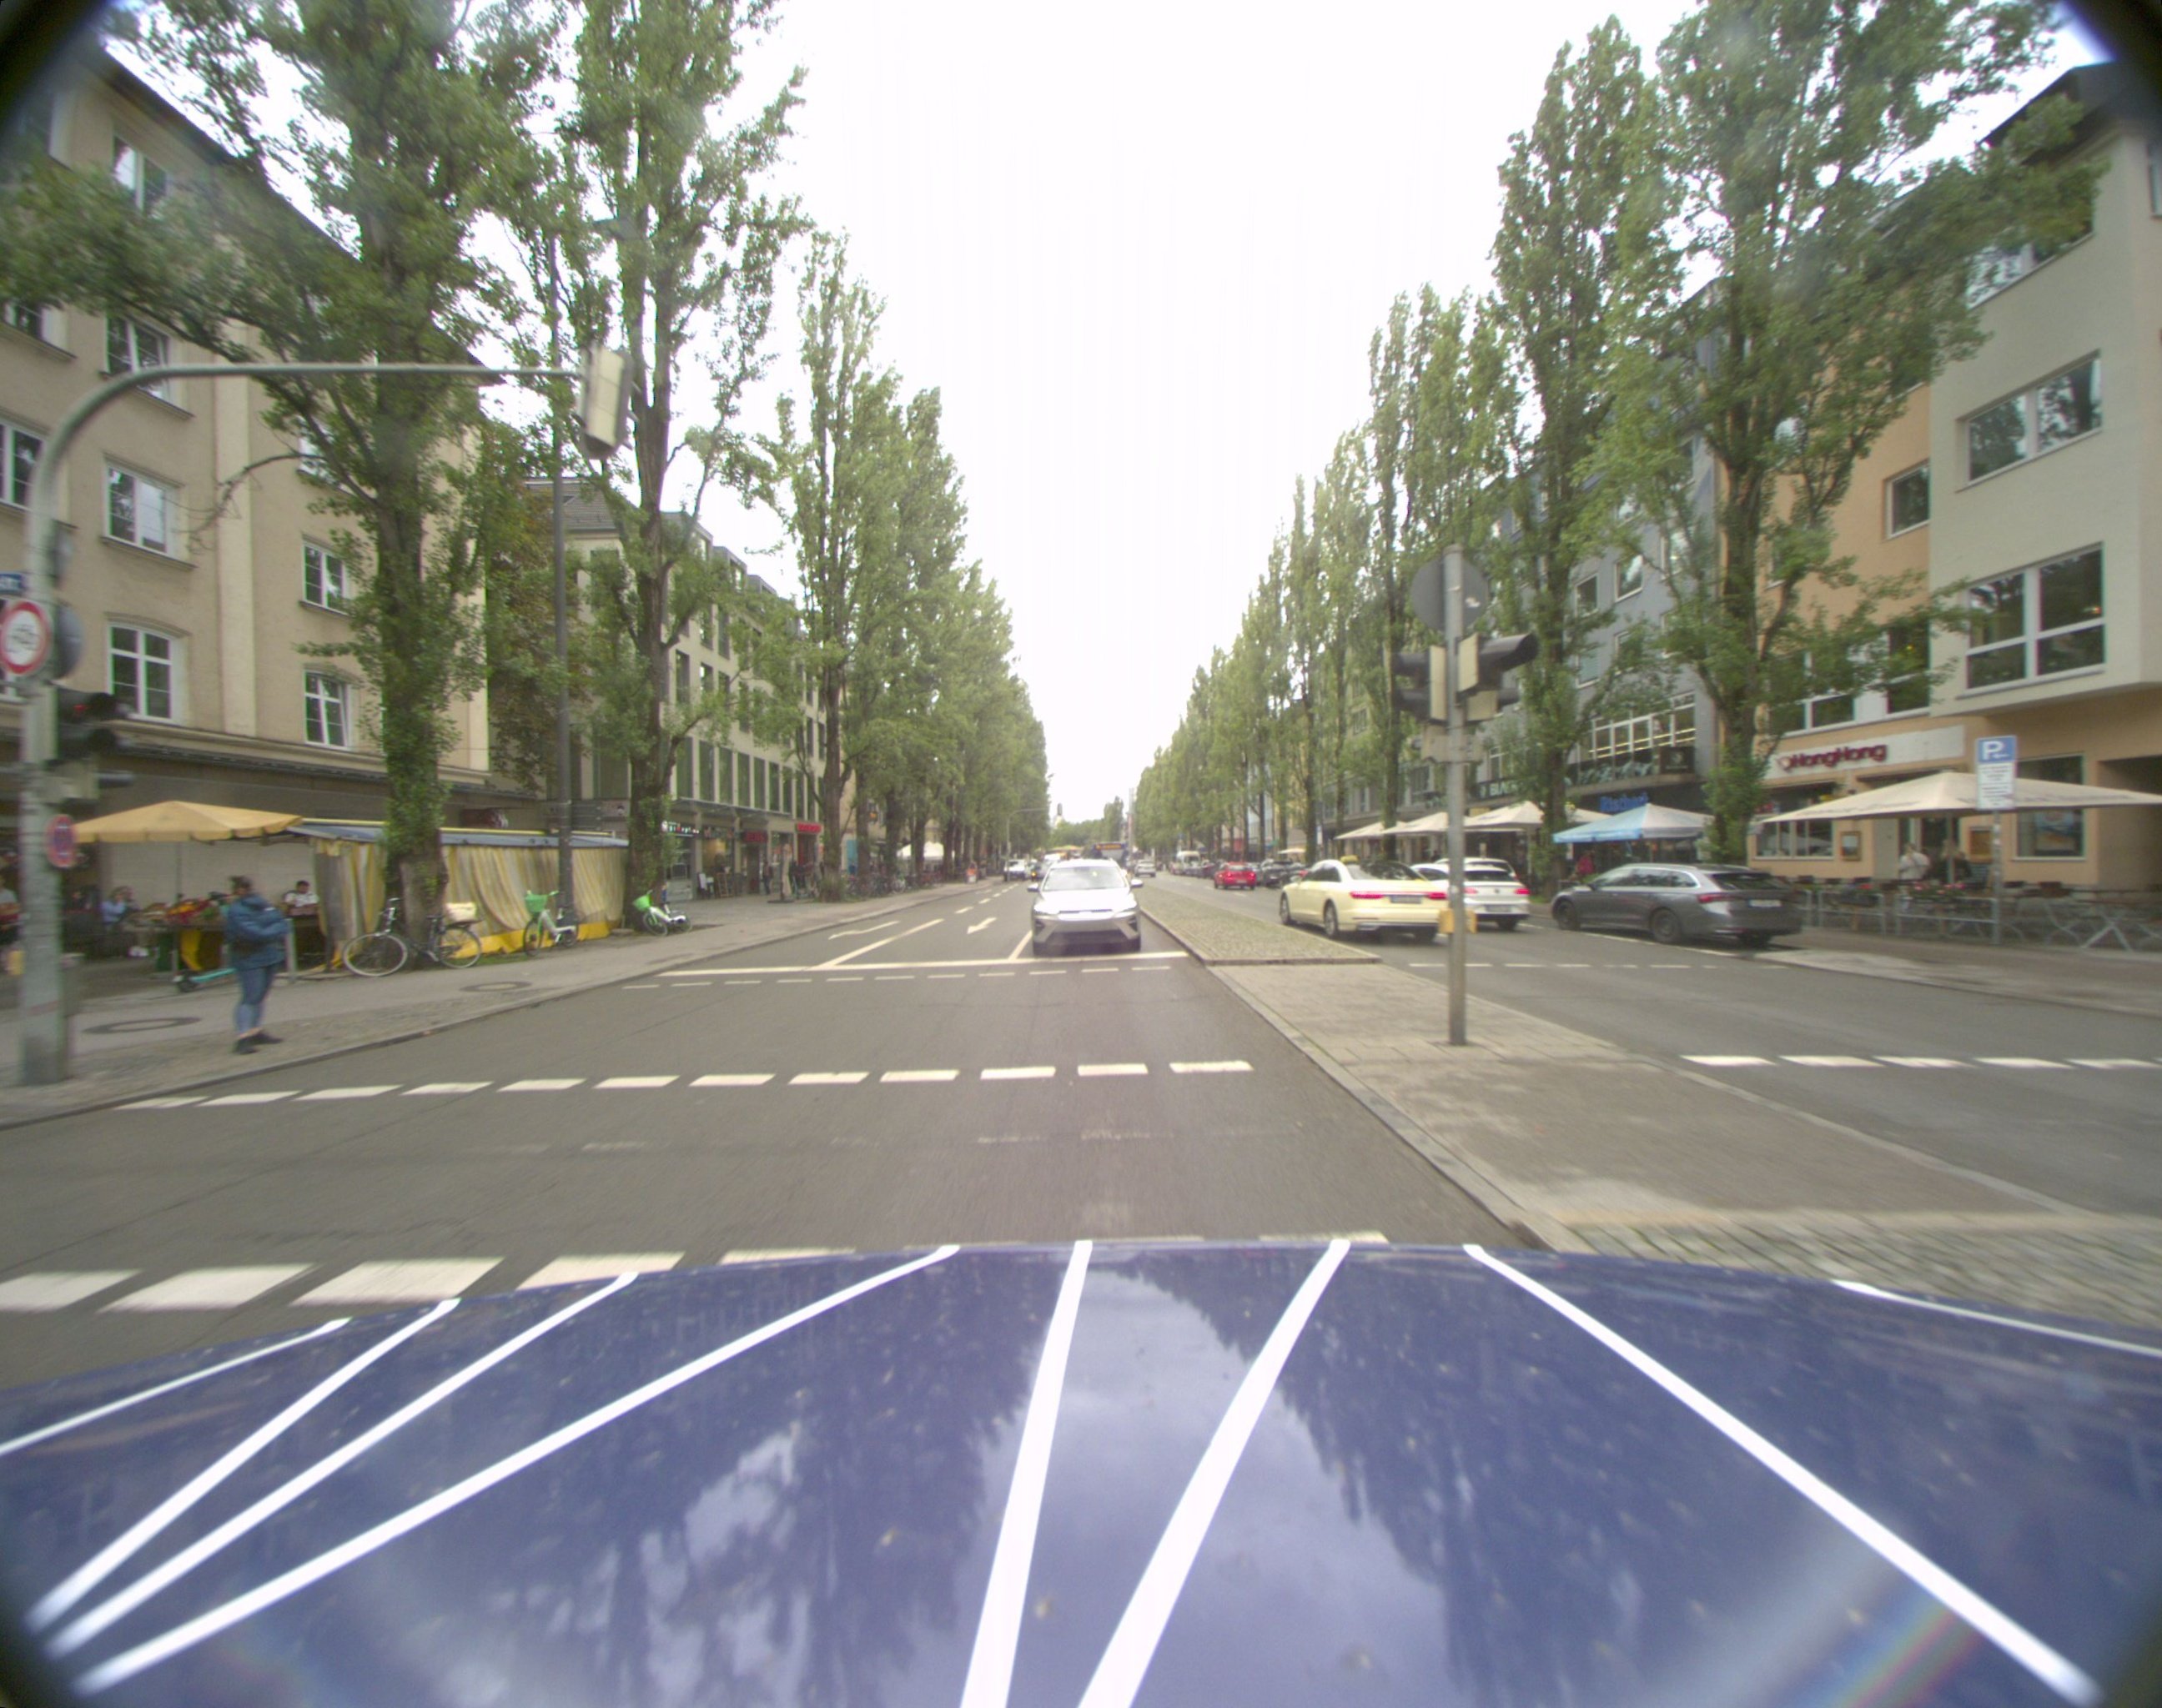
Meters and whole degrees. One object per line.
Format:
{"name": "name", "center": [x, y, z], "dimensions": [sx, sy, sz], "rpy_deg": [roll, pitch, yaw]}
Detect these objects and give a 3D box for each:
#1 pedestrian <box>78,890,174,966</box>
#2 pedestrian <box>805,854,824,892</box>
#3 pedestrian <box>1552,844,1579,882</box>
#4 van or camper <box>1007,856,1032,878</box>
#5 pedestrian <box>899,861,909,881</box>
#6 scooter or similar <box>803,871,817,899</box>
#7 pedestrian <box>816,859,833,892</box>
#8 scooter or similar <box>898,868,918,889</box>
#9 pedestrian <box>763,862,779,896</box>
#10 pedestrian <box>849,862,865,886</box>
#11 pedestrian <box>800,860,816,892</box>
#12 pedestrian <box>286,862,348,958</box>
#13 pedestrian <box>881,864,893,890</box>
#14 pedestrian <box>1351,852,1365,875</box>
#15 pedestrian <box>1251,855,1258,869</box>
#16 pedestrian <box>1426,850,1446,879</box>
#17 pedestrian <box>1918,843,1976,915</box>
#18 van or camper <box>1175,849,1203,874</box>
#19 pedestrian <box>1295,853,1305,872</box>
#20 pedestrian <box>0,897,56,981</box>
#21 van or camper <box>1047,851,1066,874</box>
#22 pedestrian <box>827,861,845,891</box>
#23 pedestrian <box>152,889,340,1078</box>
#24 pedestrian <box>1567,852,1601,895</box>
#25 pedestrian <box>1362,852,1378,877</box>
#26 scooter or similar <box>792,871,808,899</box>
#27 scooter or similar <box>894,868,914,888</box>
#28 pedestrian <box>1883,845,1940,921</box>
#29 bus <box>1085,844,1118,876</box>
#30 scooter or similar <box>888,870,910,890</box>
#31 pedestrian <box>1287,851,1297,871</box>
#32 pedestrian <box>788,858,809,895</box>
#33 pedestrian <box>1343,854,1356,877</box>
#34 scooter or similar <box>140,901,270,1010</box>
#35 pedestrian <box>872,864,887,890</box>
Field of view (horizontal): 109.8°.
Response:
{"name": "pedestrian", "center": [-16.779, 1.290, 13.367], "dimensions": [0.777, 1.257, 0.699], "rpy_deg": [-1, 0, 1]}
{"name": "pedestrian", "center": [-13.648, 0.972, 38.927], "dimensions": [0.658, 1.959, 0.722], "rpy_deg": [-1, 0, 3]}
{"name": "pedestrian", "center": [22.200, 0.414, 34.796], "dimensions": [0.742, 1.744, 0.756], "rpy_deg": [-1, 0, 0]}
{"name": "van or camper", "center": [-5.475, 1.180, 68.481], "dimensions": [1.795, 1.894, 4.566], "rpy_deg": [-1, 0, 1]}
{"name": "pedestrian", "center": [-14.646, 1.380, 62.810], "dimensions": [0.668, 1.654, 0.692], "rpy_deg": [-2, 0, -1]}
{"name": "scooter or similar", "center": [-12.544, 1.441, 35.125], "dimensions": [0.248, 1.266, 1.036], "rpy_deg": [-1, 0, 0]}
{"name": "pedestrian", "center": [-14.117, 1.176, 41.784], "dimensions": [0.658, 1.774, 0.674], "rpy_deg": [-1, 0, 1]}
{"name": "scooter or similar", "center": [-10.583, 1.496, 46.510], "dimensions": [0.285, 1.162, 1.247], "rpy_deg": [-2, 1, 42]}
{"name": "pedestrian", "center": [-16.172, 1.278, 39.636], "dimensions": [0.548, 1.757, 0.642], "rpy_deg": [-2, 0, -1]}
{"name": "pedestrian", "center": [-15.769, 1.407, 53.473], "dimensions": [0.764, 1.594, 1.016], "rpy_deg": [-2, 0, 1]}
{"name": "pedestrian", "center": [-15.056, 1.201, 41.871], "dimensions": [0.566, 1.774, 0.674], "rpy_deg": [-1, 0, 1]}
{"name": "pedestrian", "center": [-13.534, 0.971, 13.466], "dimensions": [0.541, 1.663, 0.537], "rpy_deg": [-1, 0, 7]}
{"name": "pedestrian", "center": [-13.272, 1.572, 51.945], "dimensions": [0.566, 1.732, 0.697], "rpy_deg": [-2, 0, 3]}
{"name": "pedestrian", "center": [20.536, 0.726, 56.301], "dimensions": [0.710, 1.663, 0.756], "rpy_deg": [-1, 0, 1]}
{"name": "pedestrian", "center": [19.193, 0.883, 84.098], "dimensions": [0.649, 1.430, 0.551], "rpy_deg": [-1, 0, -5]}
{"name": "pedestrian", "center": [20.212, 0.621, 43.270], "dimensions": [0.742, 1.631, 0.756], "rpy_deg": [-1, 0, 2]}
{"name": "pedestrian", "center": [20.016, 0.562, 17.569], "dimensions": [0.556, 1.629, 0.692], "rpy_deg": [-1, 0, 0]}
{"name": "van or camper", "center": [11.539, 0.833, 81.569], "dimensions": [2.131, 2.535, 6.644], "rpy_deg": [-1, 0, 1]}
{"name": "pedestrian", "center": [20.376, 0.783, 70.666], "dimensions": [0.749, 1.784, 0.716], "rpy_deg": [-1, 0, 1]}
{"name": "pedestrian", "center": [-16.724, 1.296, 11.711], "dimensions": [0.870, 1.192, 0.699], "rpy_deg": [3, 0, 1]}
{"name": "van or camper", "center": [-2.961, 0.974, 93.306], "dimensions": [1.998, 2.471, 6.641], "rpy_deg": [-1, 2, 0]}
{"name": "pedestrian", "center": [-15.396, 1.352, 47.748], "dimensions": [0.753, 1.843, 0.821], "rpy_deg": [-2, 0, 2]}
{"name": "pedestrian", "center": [-7.688, 1.145, 7.044], "dimensions": [0.767, 1.600, 0.864], "rpy_deg": [-1, 0, -4]}
{"name": "pedestrian", "center": [18.866, 0.739, 28.512], "dimensions": [0.742, 1.592, 0.756], "rpy_deg": [-1, 0, 2]}
{"name": "pedestrian", "center": [20.236, 0.745, 53.187], "dimensions": [0.820, 1.744, 0.756], "rpy_deg": [-1, 0, 1]}
{"name": "scooter or similar", "center": [-12.988, 1.439, 35.115], "dimensions": [0.331, 1.266, 1.036], "rpy_deg": [-1, 0, 0]}
{"name": "scooter or similar", "center": [-10.871, 1.482, 46.745], "dimensions": [0.306, 1.162, 1.247], "rpy_deg": [-2, 1, 39]}
{"name": "pedestrian", "center": [19.275, 0.662, 17.648], "dimensions": [0.556, 1.707, 0.692], "rpy_deg": [-1, 0, 0]}
{"name": "bus", "center": [1.888, 0.579, 76.043], "dimensions": [2.806, 2.886, 12.857], "rpy_deg": [-1, 0, 0]}
{"name": "scooter or similar", "center": [-10.573, 1.507, 44.151], "dimensions": [1.241, 1.163, 0.404], "rpy_deg": [-1, 1, 29]}
{"name": "pedestrian", "center": [19.606, 0.656, 70.625], "dimensions": [0.749, 1.784, 0.716], "rpy_deg": [-1, 0, 1]}
{"name": "pedestrian", "center": [-14.408, 1.144, 38.748], "dimensions": [0.658, 1.840, 0.906], "rpy_deg": [-1, 0, 2]}
{"name": "pedestrian", "center": [19.370, 0.838, 54.810], "dimensions": [0.723, 1.641, 0.712], "rpy_deg": [-1, 0, 0]}
{"name": "scooter or similar", "center": [-11.305, 1.264, 9.860], "dimensions": [0.408, 1.236, 1.370], "rpy_deg": [-1, 0, -16]}
{"name": "pedestrian", "center": [-12.645, 1.424, 47.708], "dimensions": [0.711, 1.580, 0.793], "rpy_deg": [1, 0, 0]}
